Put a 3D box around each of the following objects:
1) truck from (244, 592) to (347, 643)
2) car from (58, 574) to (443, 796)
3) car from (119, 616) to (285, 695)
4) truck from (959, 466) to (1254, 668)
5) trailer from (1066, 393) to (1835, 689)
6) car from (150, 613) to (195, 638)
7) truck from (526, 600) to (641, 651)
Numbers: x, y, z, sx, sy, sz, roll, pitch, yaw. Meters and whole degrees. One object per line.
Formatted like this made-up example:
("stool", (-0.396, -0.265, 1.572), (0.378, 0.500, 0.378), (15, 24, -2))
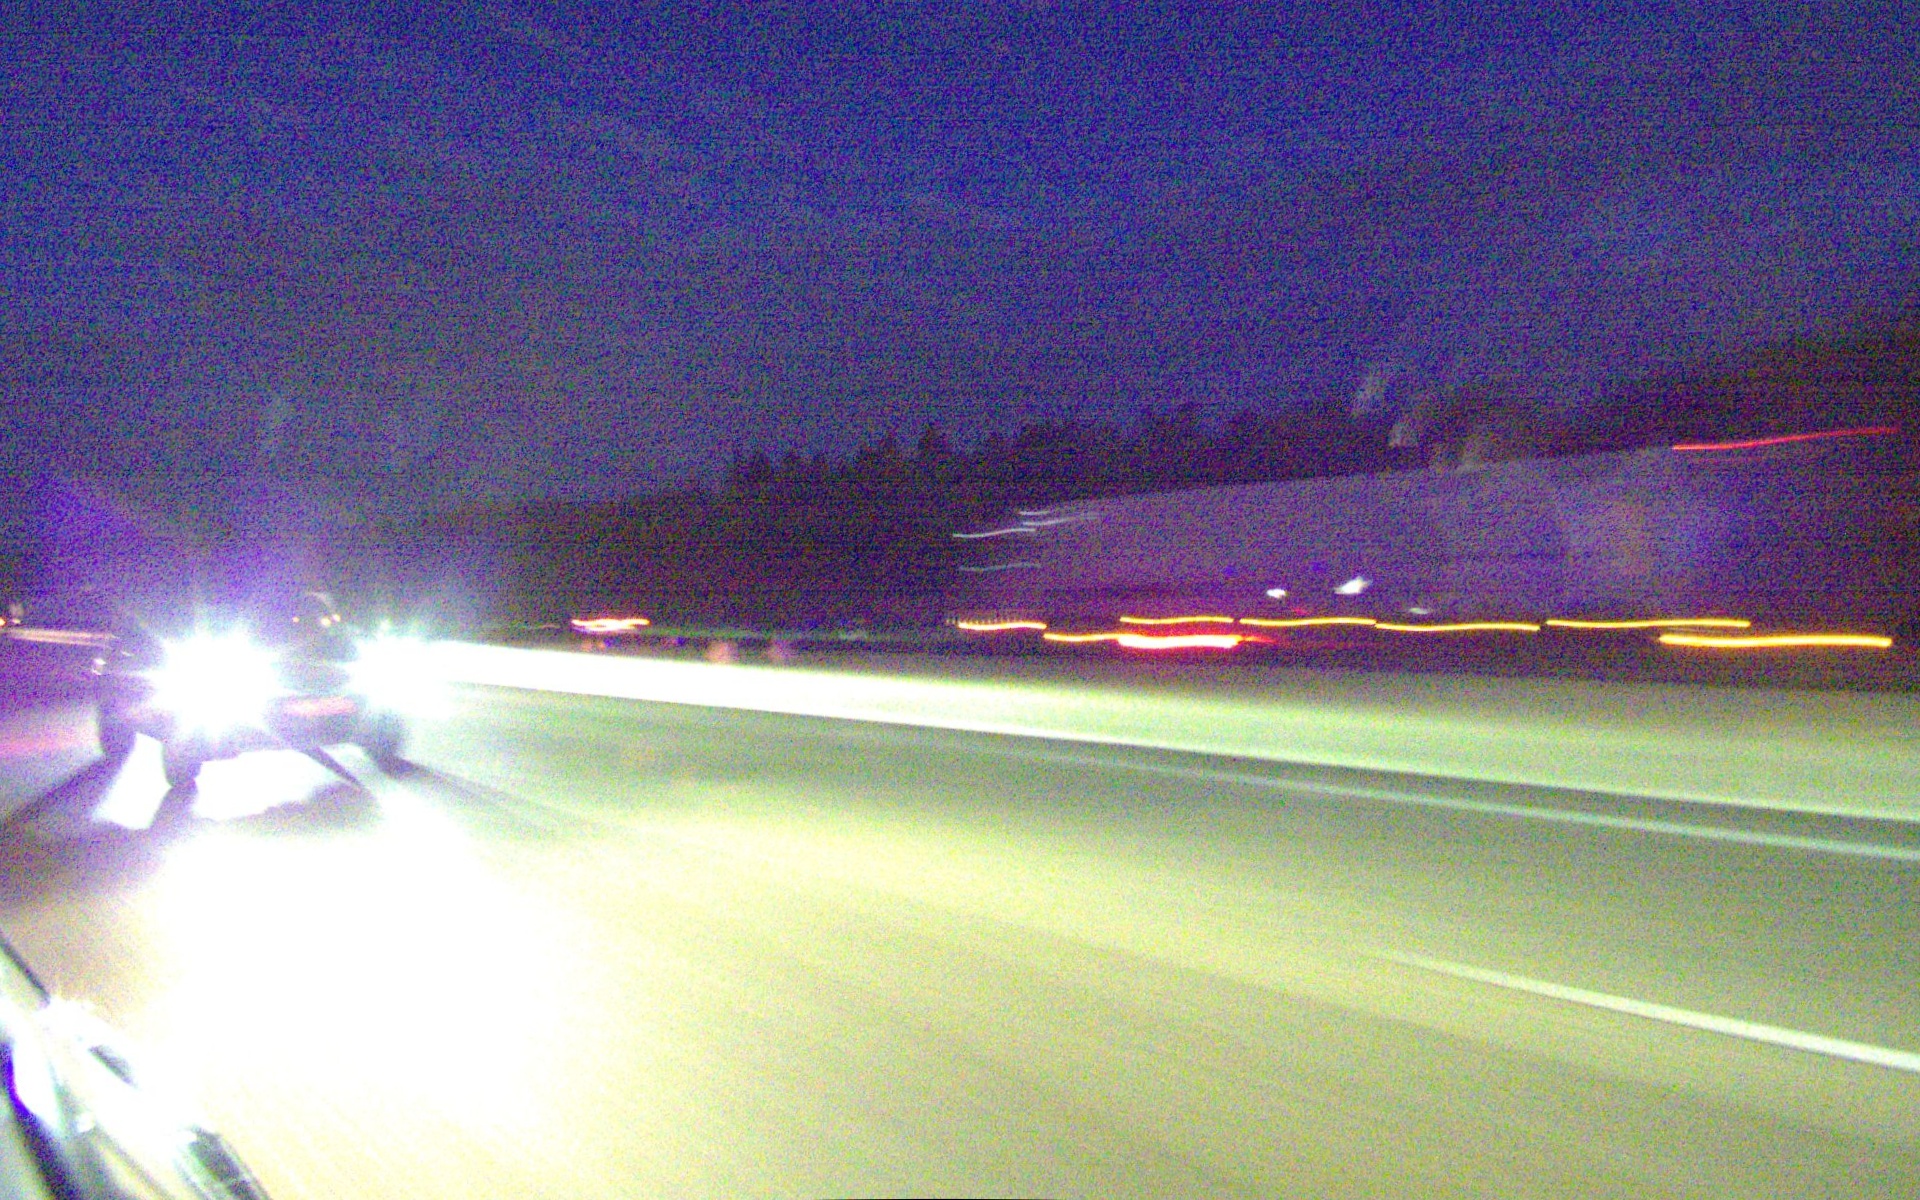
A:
("truck", (-38.032, 1.011, 57.827), (7.881, 2.661, 2.843), (-1, 0, 41))
("car", (-7.787, 0.718, 10.780), (5.939, 1.734, 1.973), (-1, 1, 41))
("car", (-16.365, 1.111, 21.731), (5.508, 1.442, 1.534), (0, -1, 39))
("truck", (3.592, -0.675, 25.833), (6.704, 4.467, 3.291), (-1, -1, 41))
("trailer", (8.943, -0.791, 21.132), (14.017, 4.467, 3.291), (-1, -1, 41))
("car", (-68.706, 2.192, 88.240), (4.761, 1.970, 2.174), (-1, 2, 41))
("truck", (-13.978, 0.921, 37.453), (4.761, 1.770, 2.013), (-1, -1, 42))
